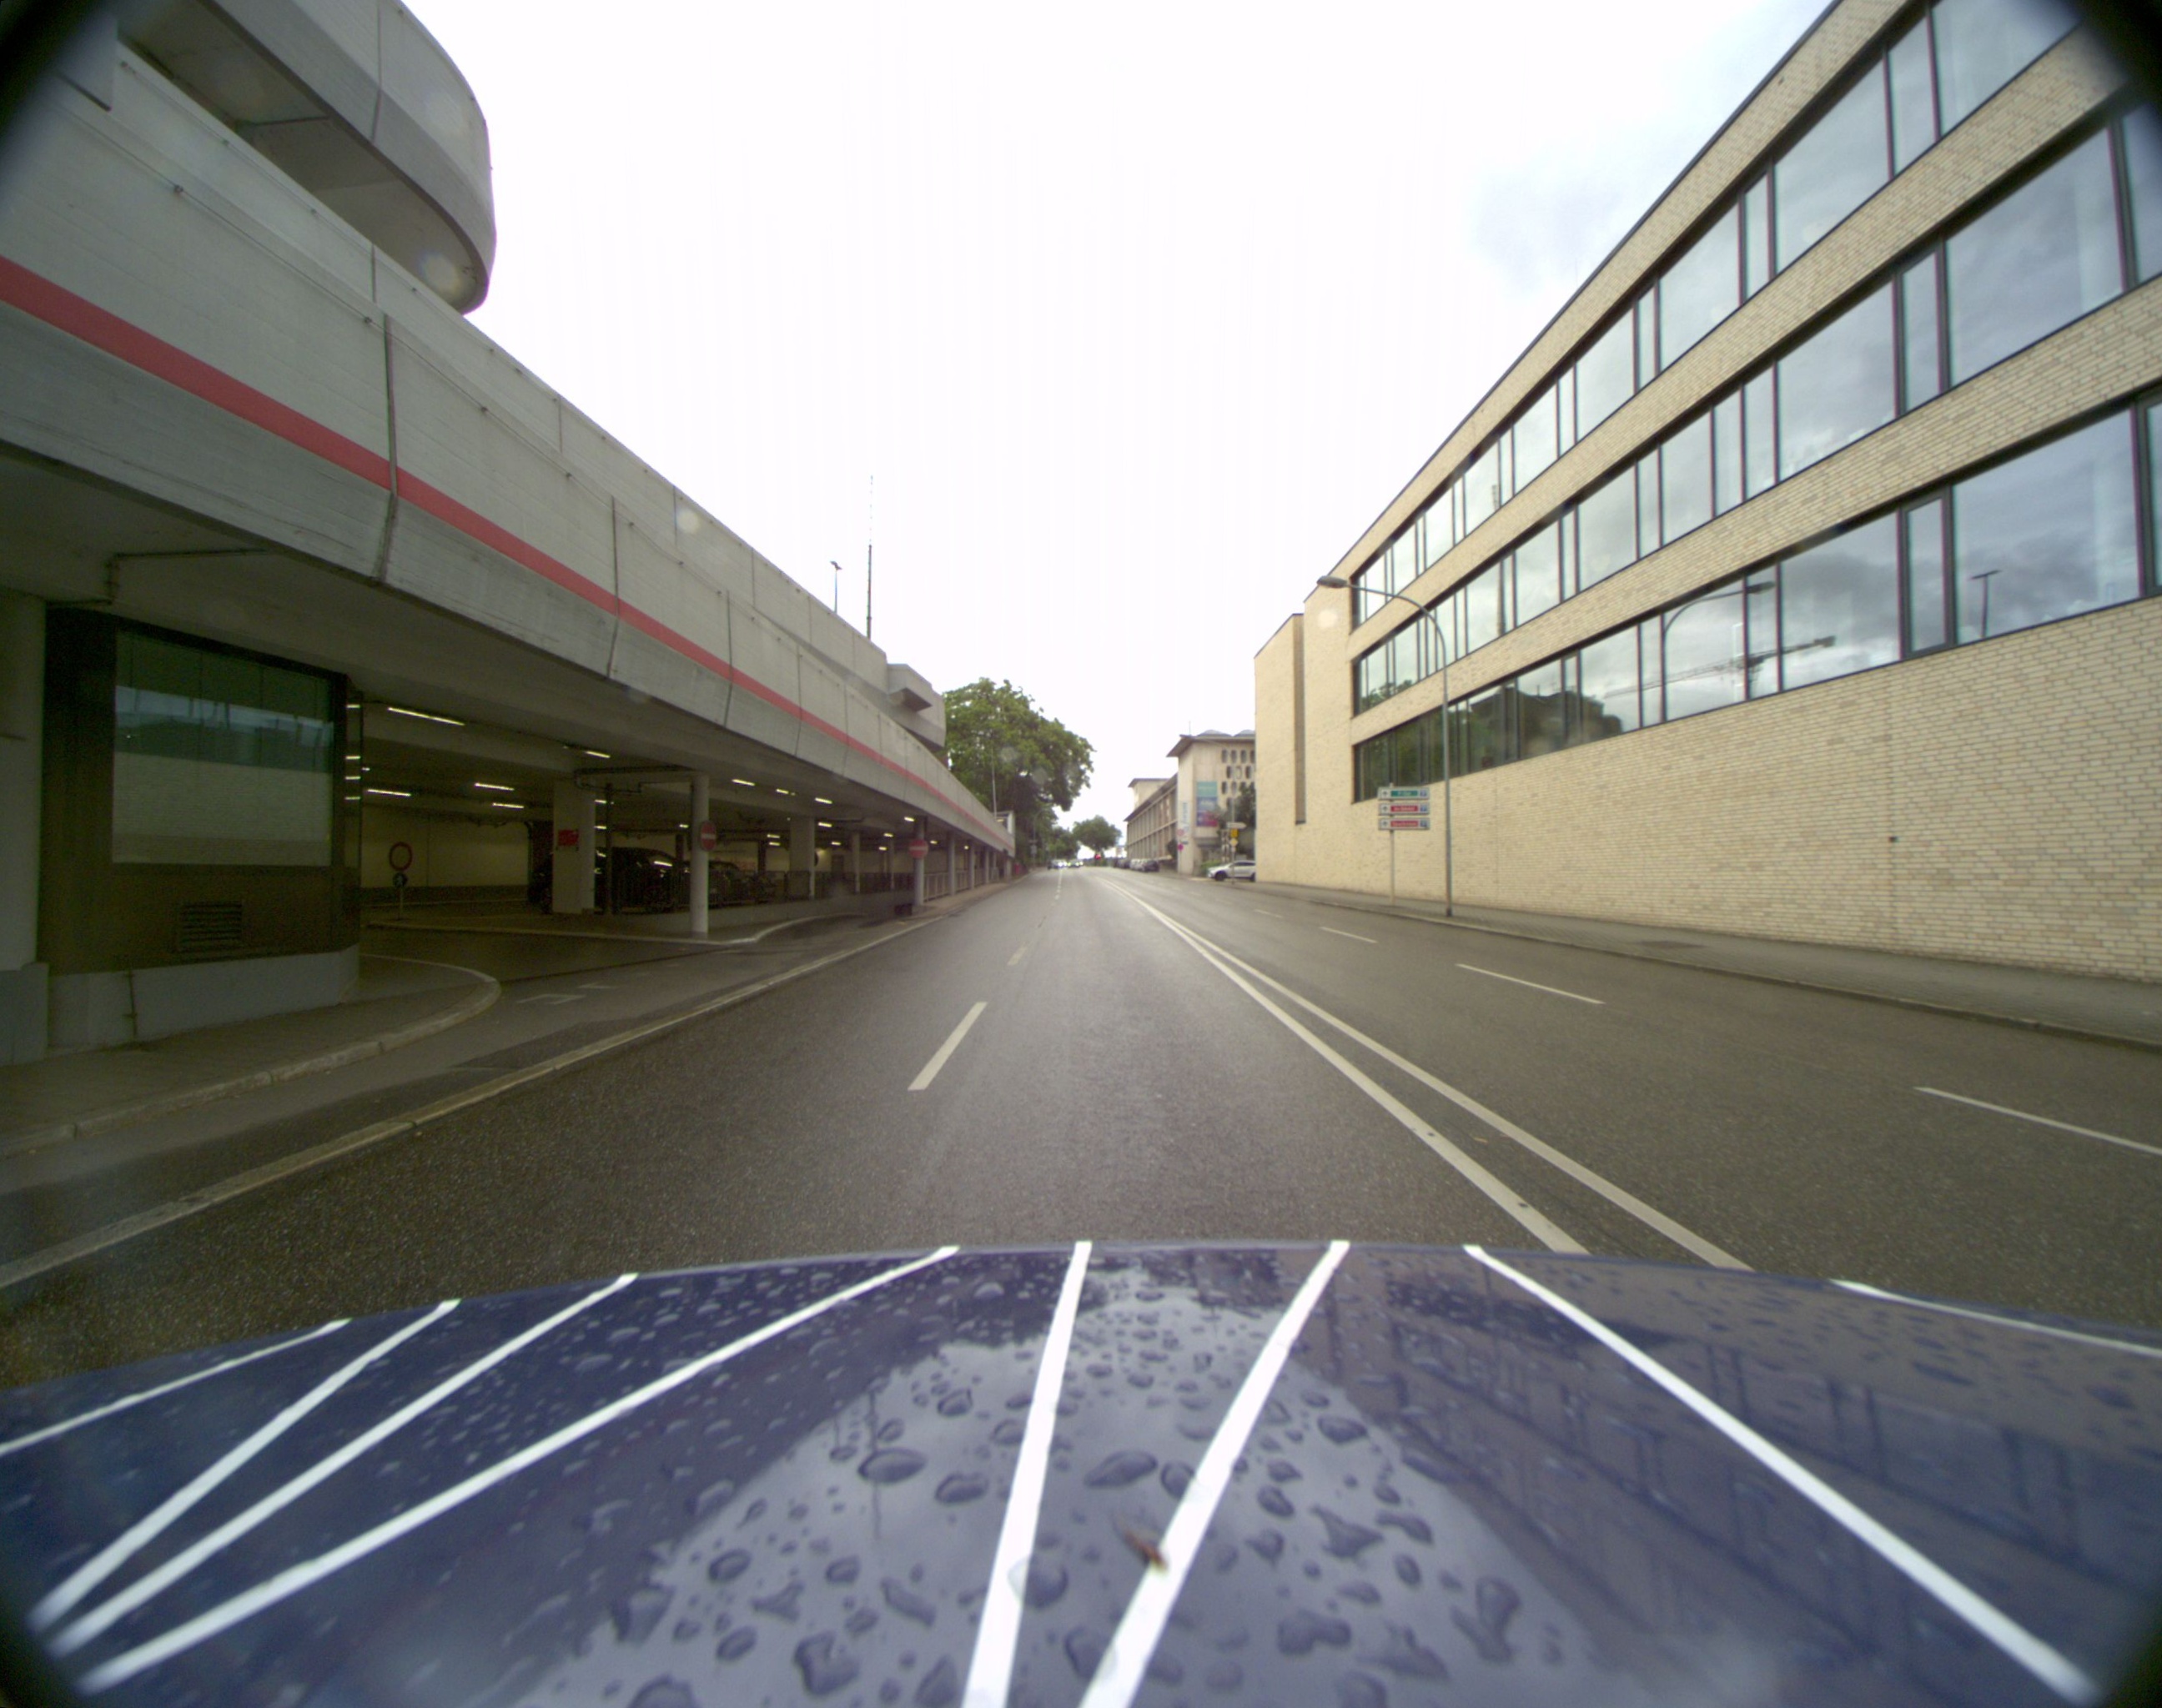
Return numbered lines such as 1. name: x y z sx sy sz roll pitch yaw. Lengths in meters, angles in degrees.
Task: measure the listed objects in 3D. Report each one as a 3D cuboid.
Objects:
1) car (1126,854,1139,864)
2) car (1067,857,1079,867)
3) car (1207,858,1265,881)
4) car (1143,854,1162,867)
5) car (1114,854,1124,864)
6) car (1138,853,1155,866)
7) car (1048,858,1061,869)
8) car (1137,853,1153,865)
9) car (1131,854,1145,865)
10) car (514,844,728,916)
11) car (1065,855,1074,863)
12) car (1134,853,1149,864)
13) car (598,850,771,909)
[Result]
1. car: 8.239 0.792 121.546 1.800 1.516 4.056 -2 -1 1
2. car: -1.387 1.392 128.221 1.852 1.516 3.990 -2 -1 1
3. car: 11.612 1.160 57.047 4.051 1.516 1.803 -2 0 5
4. car: 8.549 0.803 91.042 1.800 1.516 4.056 -2 -1 1
5. car: 7.054 0.982 142.507 1.698 1.715 3.756 -2 1 1
6. car: 8.282 0.676 96.391 1.800 1.516 4.056 -2 -1 1
7. car: -4.087 1.433 116.590 1.683 1.516 3.990 -2 -1 1
8. car: 8.496 0.648 101.526 1.800 1.516 4.056 -2 -1 1
9. car: 8.497 0.774 113.274 1.800 1.516 4.056 -2 -1 1
10. car: -11.389 0.695 18.972 4.251 1.650 2.003 -1 -4 10
11. car: -2.446 1.084 164.847 1.727 1.628 3.999 -2 1 1
12. car: 8.502 0.656 106.746 1.800 1.516 4.056 -2 -1 1
13. car: -11.920 0.819 22.996 4.251 1.650 2.003 -1 -4 10
